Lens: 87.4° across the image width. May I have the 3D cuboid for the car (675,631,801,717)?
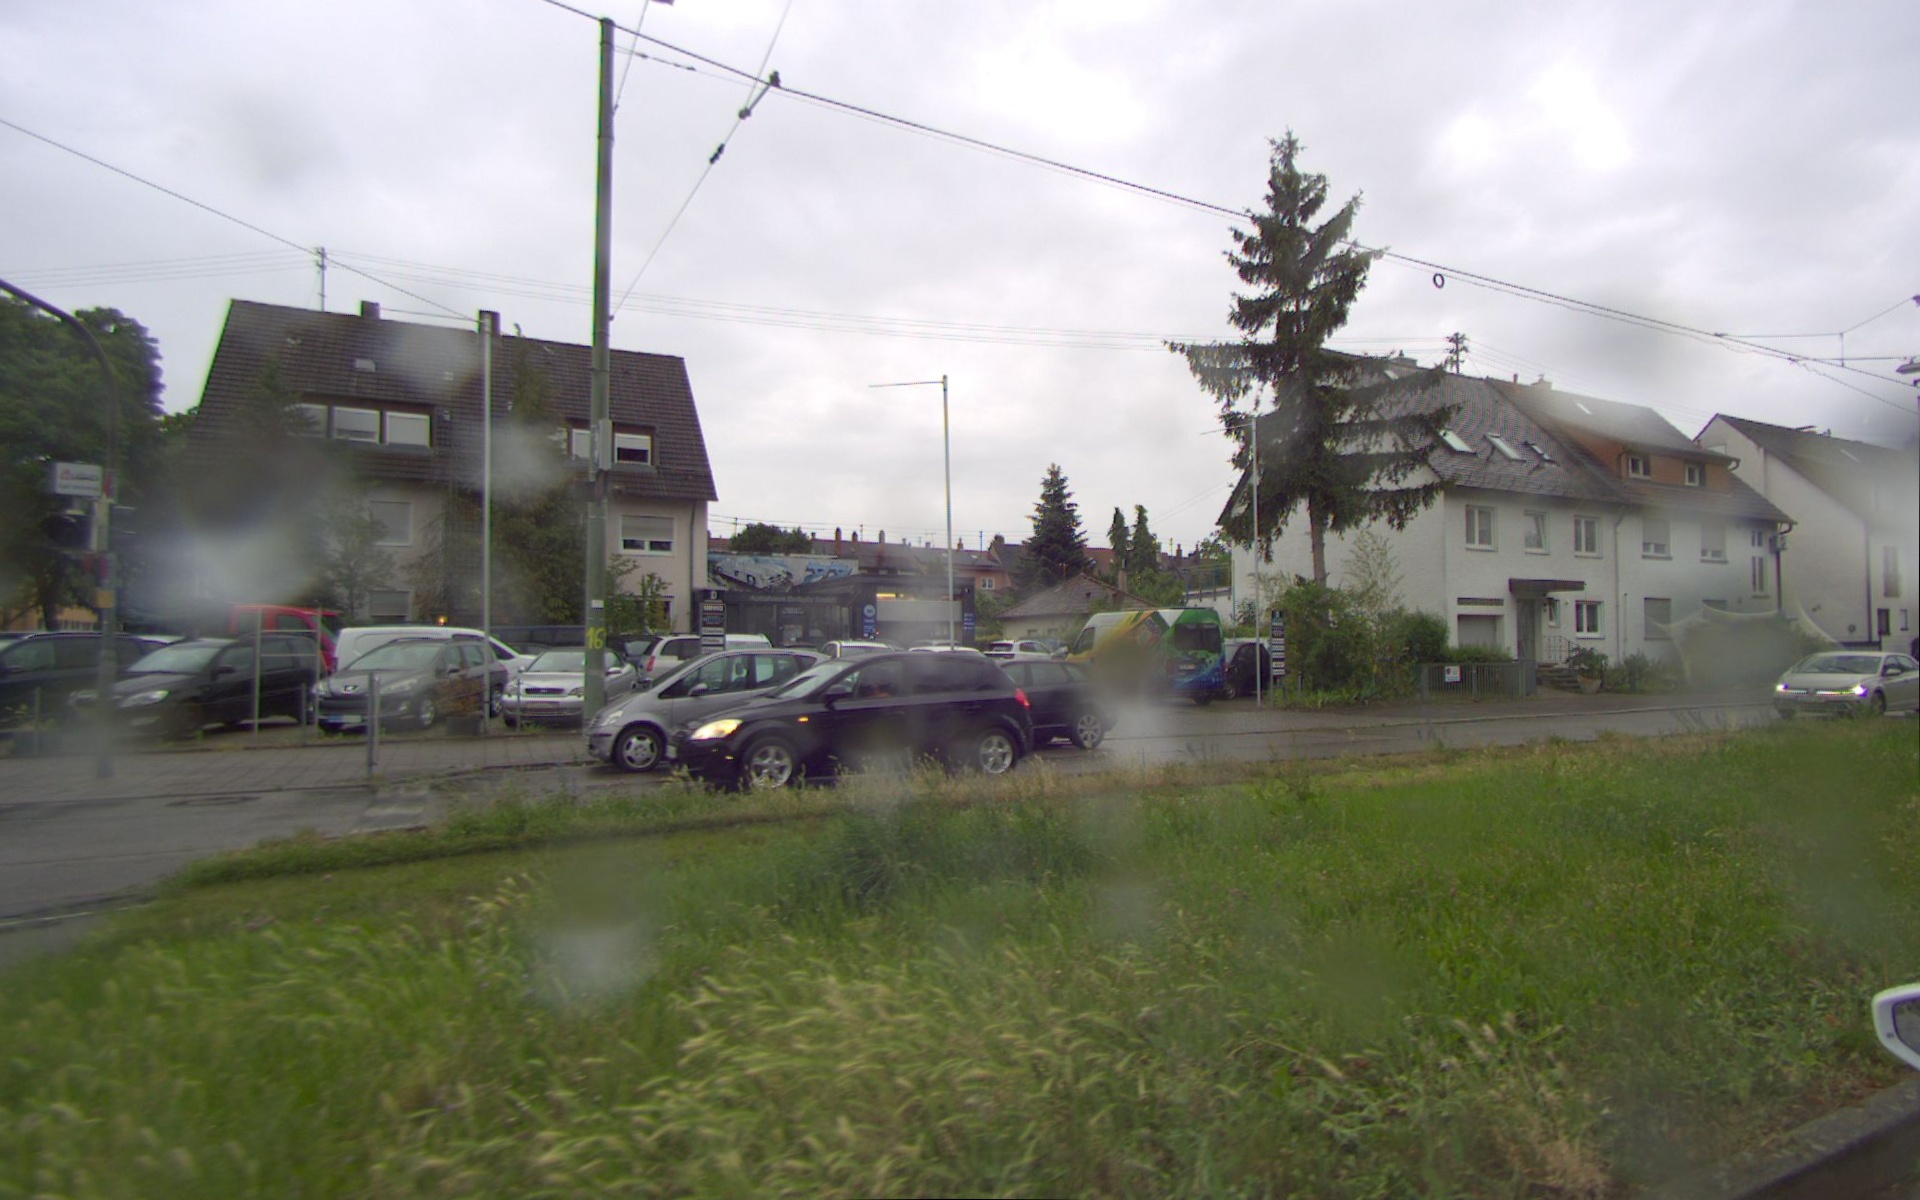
[{"bbox_3d":[-4.730,1.480,20.968,1.783,1.599,3.848,0,-3,-25],"label":"car"}]

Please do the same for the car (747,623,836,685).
[{"bbox_3d":[-5.829,1.829,34.497,1.974,1.803,3.582,3,0,-26],"label":"car"}]

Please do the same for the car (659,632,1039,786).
[{"bbox_3d":[-1.249,1.209,11.469,3.947,1.505,1.731,3,-4,-26],"label":"car"}]

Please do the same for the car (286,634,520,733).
[{"bbox_3d":[-9.799,1.468,18.090,1.797,1.523,4.061,2,-4,2],"label":"car"}]

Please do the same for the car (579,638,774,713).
[{"bbox_3d":[-6.939,1.809,24.619,4.386,1.709,1.750,1,-4,-25],"label":"car"}]

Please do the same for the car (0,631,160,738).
[{"bbox_3d":[-15.231,1.314,15.927,1.771,1.599,3.875,-1,-2,6],"label":"car"}]

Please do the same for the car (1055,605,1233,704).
[{"bbox_3d":[4.879,1.502,27.490,2.125,2.437,5.115,3,-4,-27],"label":"car"}]

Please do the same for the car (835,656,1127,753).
[{"bbox_3d":[0.369,1.641,15.958,4.331,1.356,1.712,3,-4,-26],"label":"car"}]

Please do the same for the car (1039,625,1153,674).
[{"bbox_3d":[4.806,1.741,35.122,1.838,1.601,4.377,-4,-4,41],"label":"car"}]

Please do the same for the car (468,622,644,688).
[{"bbox_3d":[-11.165,1.505,27.871,4.386,1.709,1.988,1,-4,-25],"label":"car"}]

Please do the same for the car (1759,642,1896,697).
[{"bbox_3d":[24.829,2.005,28.733,3.893,1.442,1.595,4,-4,-27],"label":"car"}]

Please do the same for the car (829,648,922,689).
[{"bbox_3d":[-3.046,2.382,35.396,1.739,1.349,3.970,4,-4,-29],"label":"car"}]

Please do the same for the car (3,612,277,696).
[{"bbox_3d":[-16.901,1.115,20.922,3.905,1.618,1.999,0,-3,-7],"label":"car"}]

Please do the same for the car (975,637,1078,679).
[{"bbox_3d":[2.699,2.297,39.862,1.768,1.601,4.425,-4,-4,41],"label":"car"}]

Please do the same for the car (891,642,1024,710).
[{"bbox_3d":[-0.139,1.727,23.312,1.699,1.414,3.821,3,-4,-23],"label":"car"}]

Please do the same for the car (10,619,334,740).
[{"bbox_3d":[-12.700,1.250,16.586,1.960,1.739,4.003,-1,-3,6],"label":"car"}]

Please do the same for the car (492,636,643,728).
[{"bbox_3d":[-7.339,1.523,19.190,1.800,1.523,4.053,2,-4,-9],"label":"car"}]

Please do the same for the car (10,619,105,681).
[{"bbox_3d":[-40.073,2.230,44.729,2.134,2.605,4.103,3,-4,-29],"label":"car"}]

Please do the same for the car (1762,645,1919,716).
[{"bbox_3d":[19.580,1.780,22.087,3.771,1.442,1.596,3,-4,-26],"label":"car"}]

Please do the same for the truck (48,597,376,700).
[{"bbox_3d":[-17.607,1.147,23.948,5.989,2.301,1.998,0,-3,-8],"label":"truck"}]

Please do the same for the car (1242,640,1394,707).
[{"bbox_3d":[10.270,2.047,28.831,3.845,1.585,1.986,-2,-1,-28],"label":"car"}]

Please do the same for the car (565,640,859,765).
[{"bbox_3d":[-3.425,1.396,14.000,3.602,1.524,1.709,4,-4,-31],"label":"car"}]

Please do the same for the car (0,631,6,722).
[{"bbox_3d":[-18.012,1.296,15.974,1.771,1.599,3.875,-1,-2,6],"label":"car"}]

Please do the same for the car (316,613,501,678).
[{"bbox_3d":[-15.390,1.286,28.336,4.386,1.709,1.988,1,-4,-25],"label":"car"}]

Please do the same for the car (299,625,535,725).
[{"bbox_3d":[-11.865,1.613,22.316,4.386,2.040,1.988,1,-4,-25],"label":"car"}]

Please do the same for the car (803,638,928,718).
[{"bbox_3d":[-2.157,1.681,22.116,1.699,1.593,3.598,3,-4,-23],"label":"car"}]
